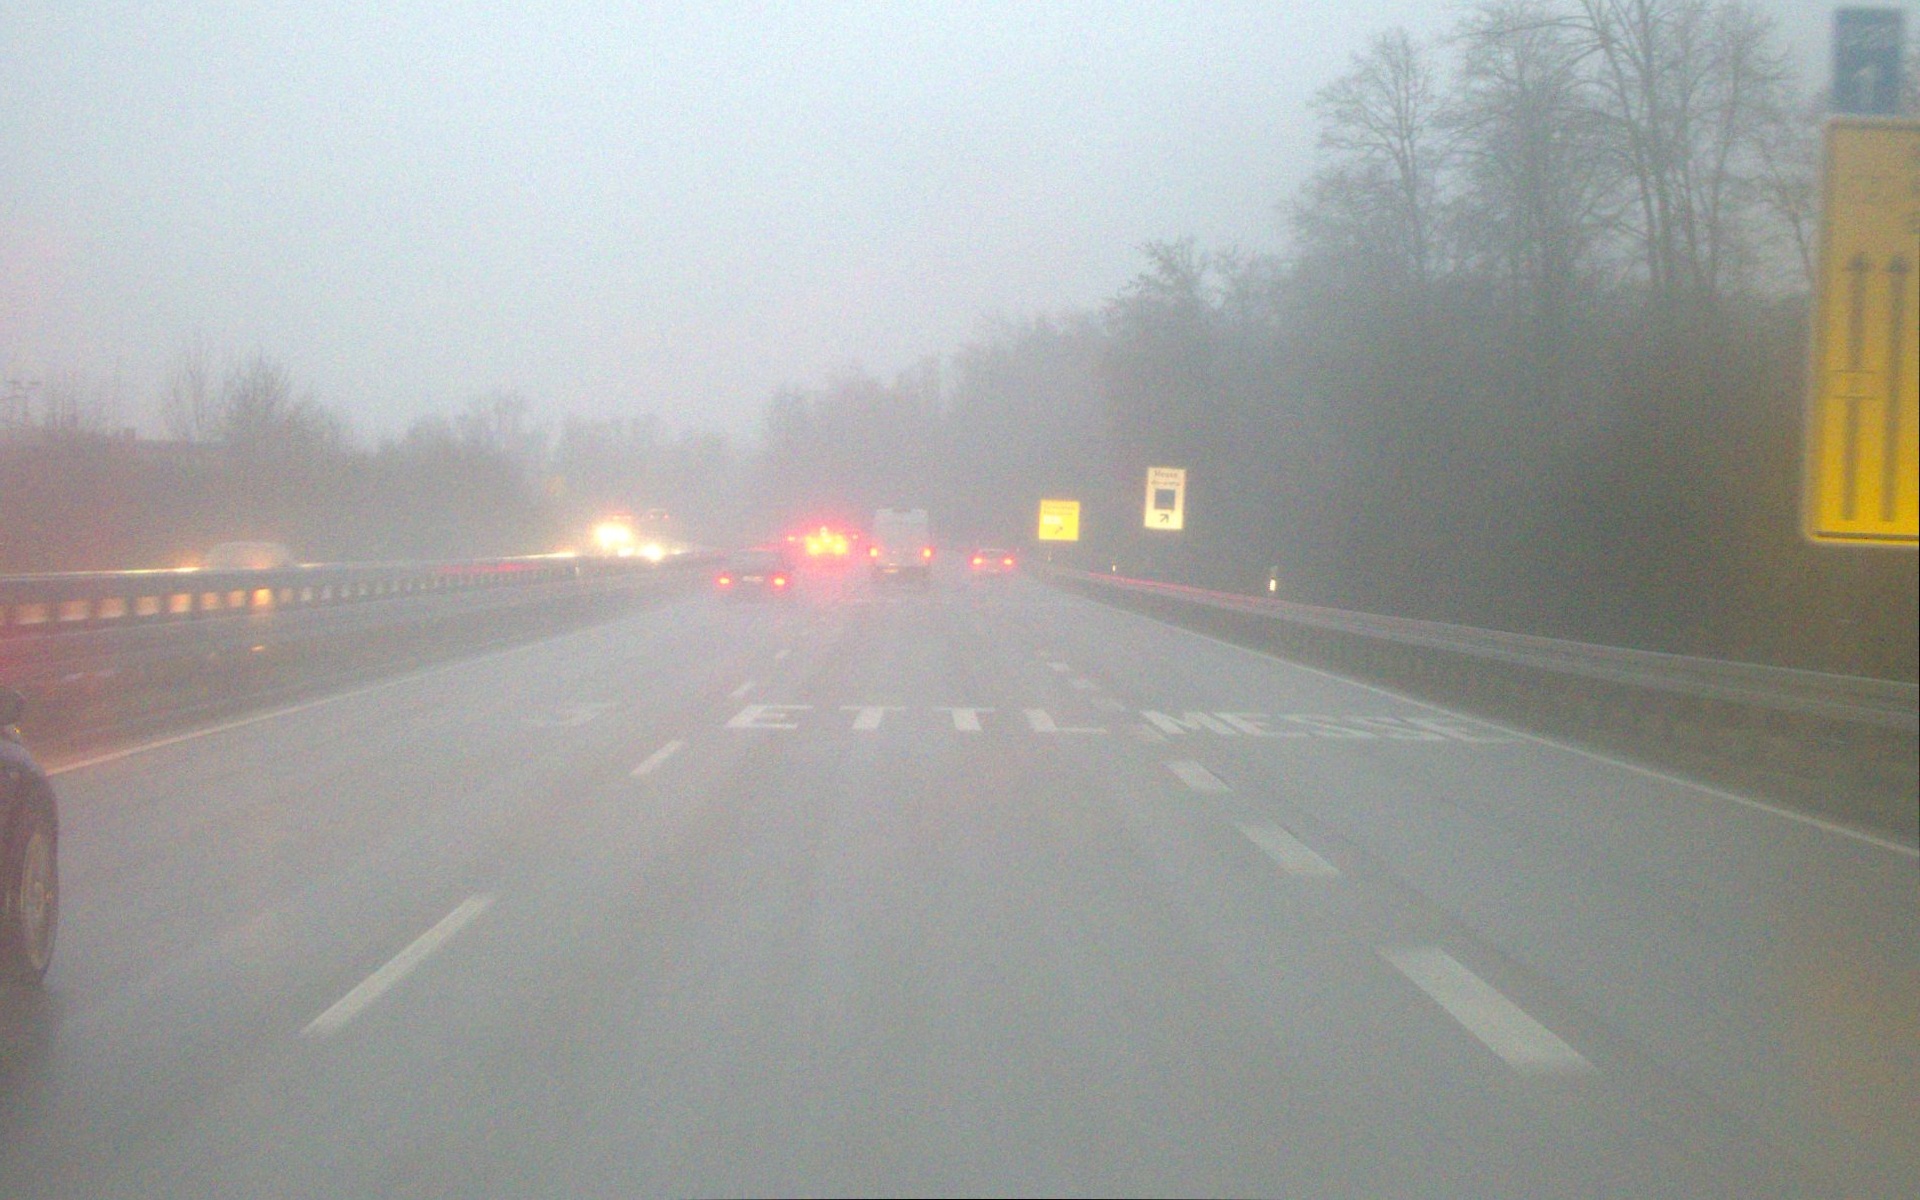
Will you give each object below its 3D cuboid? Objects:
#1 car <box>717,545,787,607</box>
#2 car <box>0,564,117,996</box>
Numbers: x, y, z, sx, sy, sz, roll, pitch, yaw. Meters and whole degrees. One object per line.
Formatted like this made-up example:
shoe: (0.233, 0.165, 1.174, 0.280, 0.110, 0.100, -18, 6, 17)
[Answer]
car: (-4.745, -0.562, 78.696, 1.416, 1.312, 3.083, 2, 1, -1)
car: (-3.889, 0.563, 10.630, 1.625, 1.387, 4.000, 3, 0, -2)
